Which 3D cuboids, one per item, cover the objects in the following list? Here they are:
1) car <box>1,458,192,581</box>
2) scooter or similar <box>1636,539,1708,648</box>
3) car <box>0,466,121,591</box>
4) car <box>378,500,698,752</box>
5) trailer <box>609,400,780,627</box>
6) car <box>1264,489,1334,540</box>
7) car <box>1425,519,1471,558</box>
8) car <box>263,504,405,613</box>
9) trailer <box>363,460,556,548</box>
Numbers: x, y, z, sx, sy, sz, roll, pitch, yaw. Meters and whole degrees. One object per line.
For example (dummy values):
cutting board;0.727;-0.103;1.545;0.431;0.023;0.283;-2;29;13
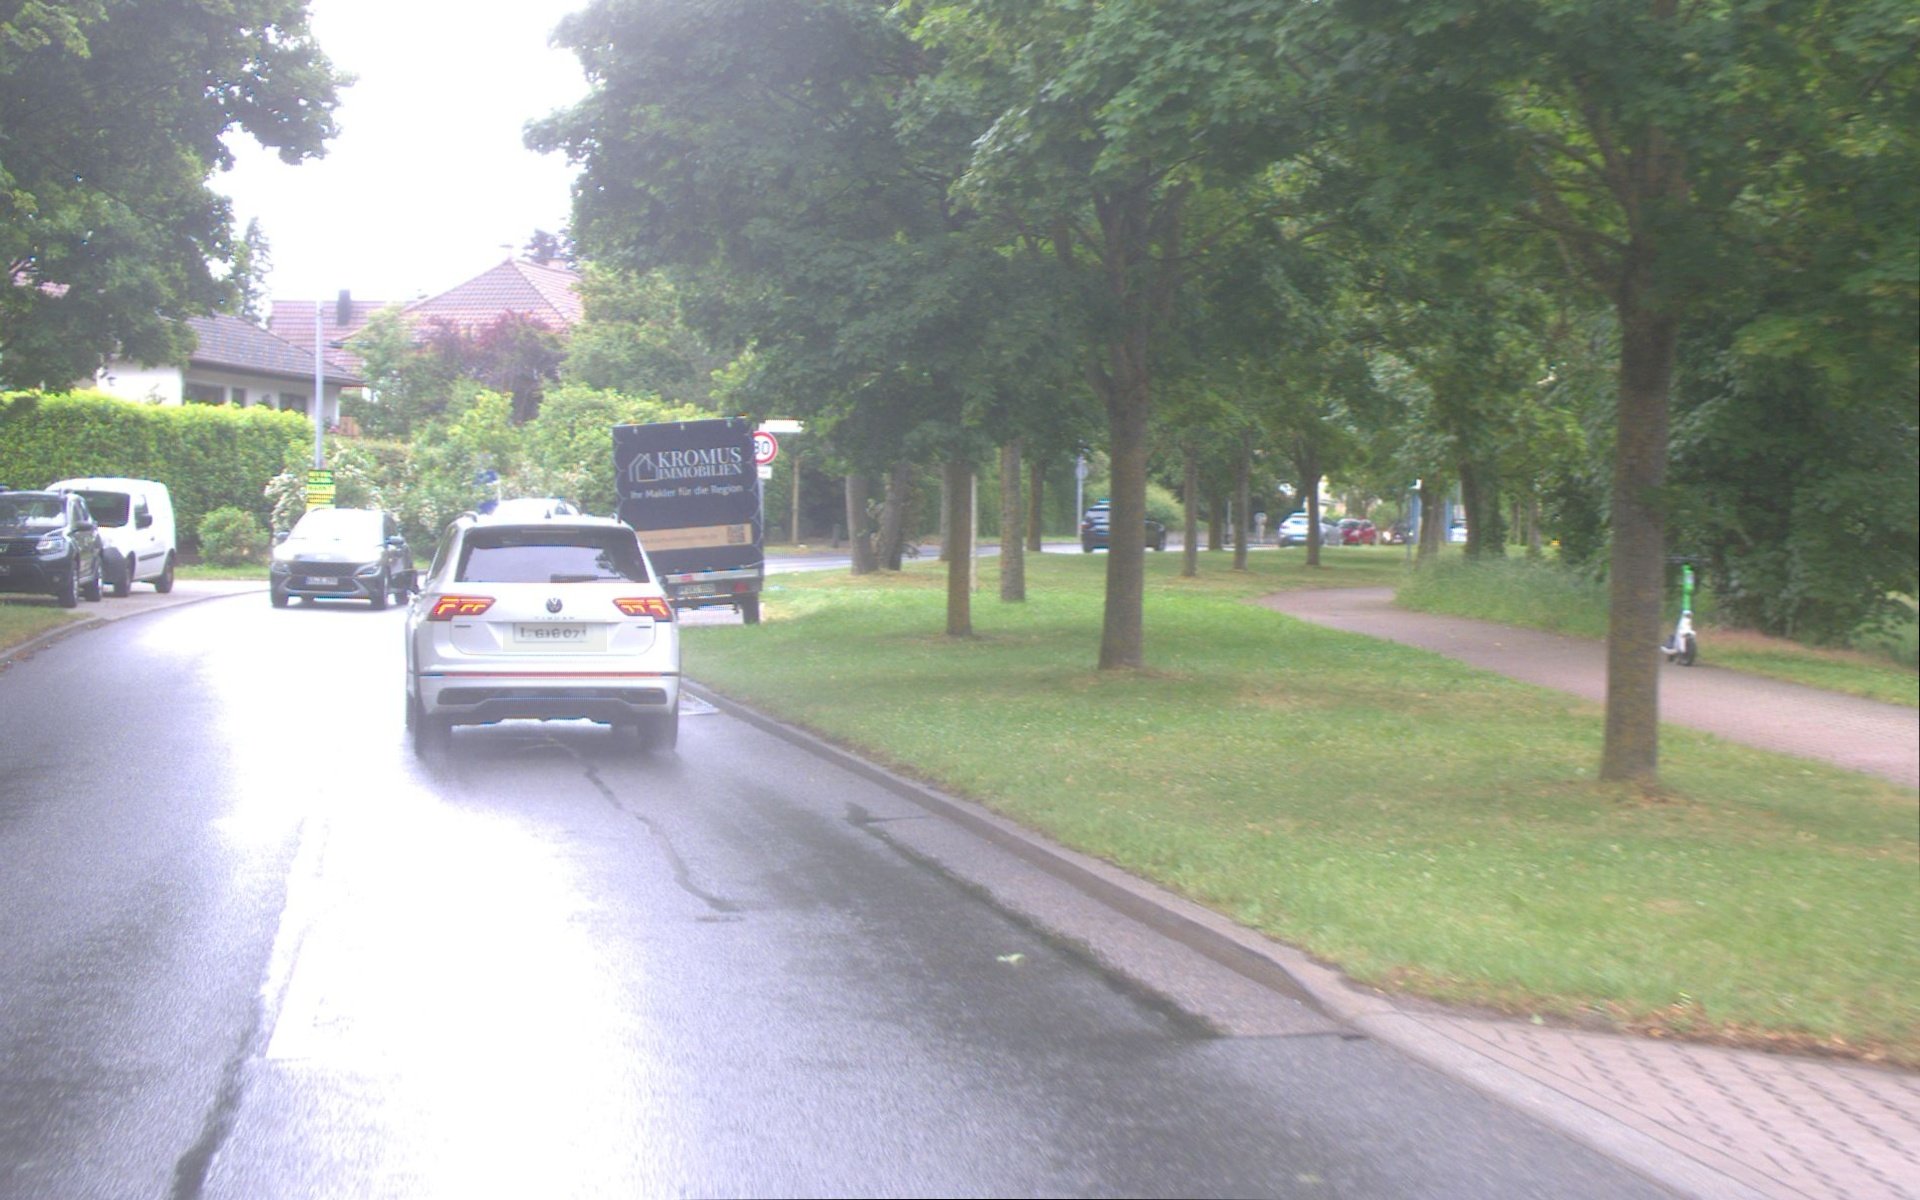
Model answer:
car;-13.547;-1.269;54.178;1.798;1.789;4.372;2;1;1
scooter or similar;7.698;-0.080;37.212;0.463;1.143;1.301;-1;2;-2
car;-13.157;-1.028;48.947;1.749;1.635;4.593;3;1;-7
car;-3.150;0.110;24.958;1.973;1.647;4.178;-1;2;-11
trailer;-3.713;-1.209;47.343;1.993;2.798;5.610;-4;2;-5
car;13.200;-3.325;133.788;1.995;1.798;3.997;3;1;15
car;24.986;-3.144;175.829;1.994;1.801;3.998;3;1;12
car;-9.994;-0.697;55.124;1.789;1.532;4.093;3;2;-5
trailer;-13.124;-2.521;90.247;4.623;2.164;1.814;2;2;14
